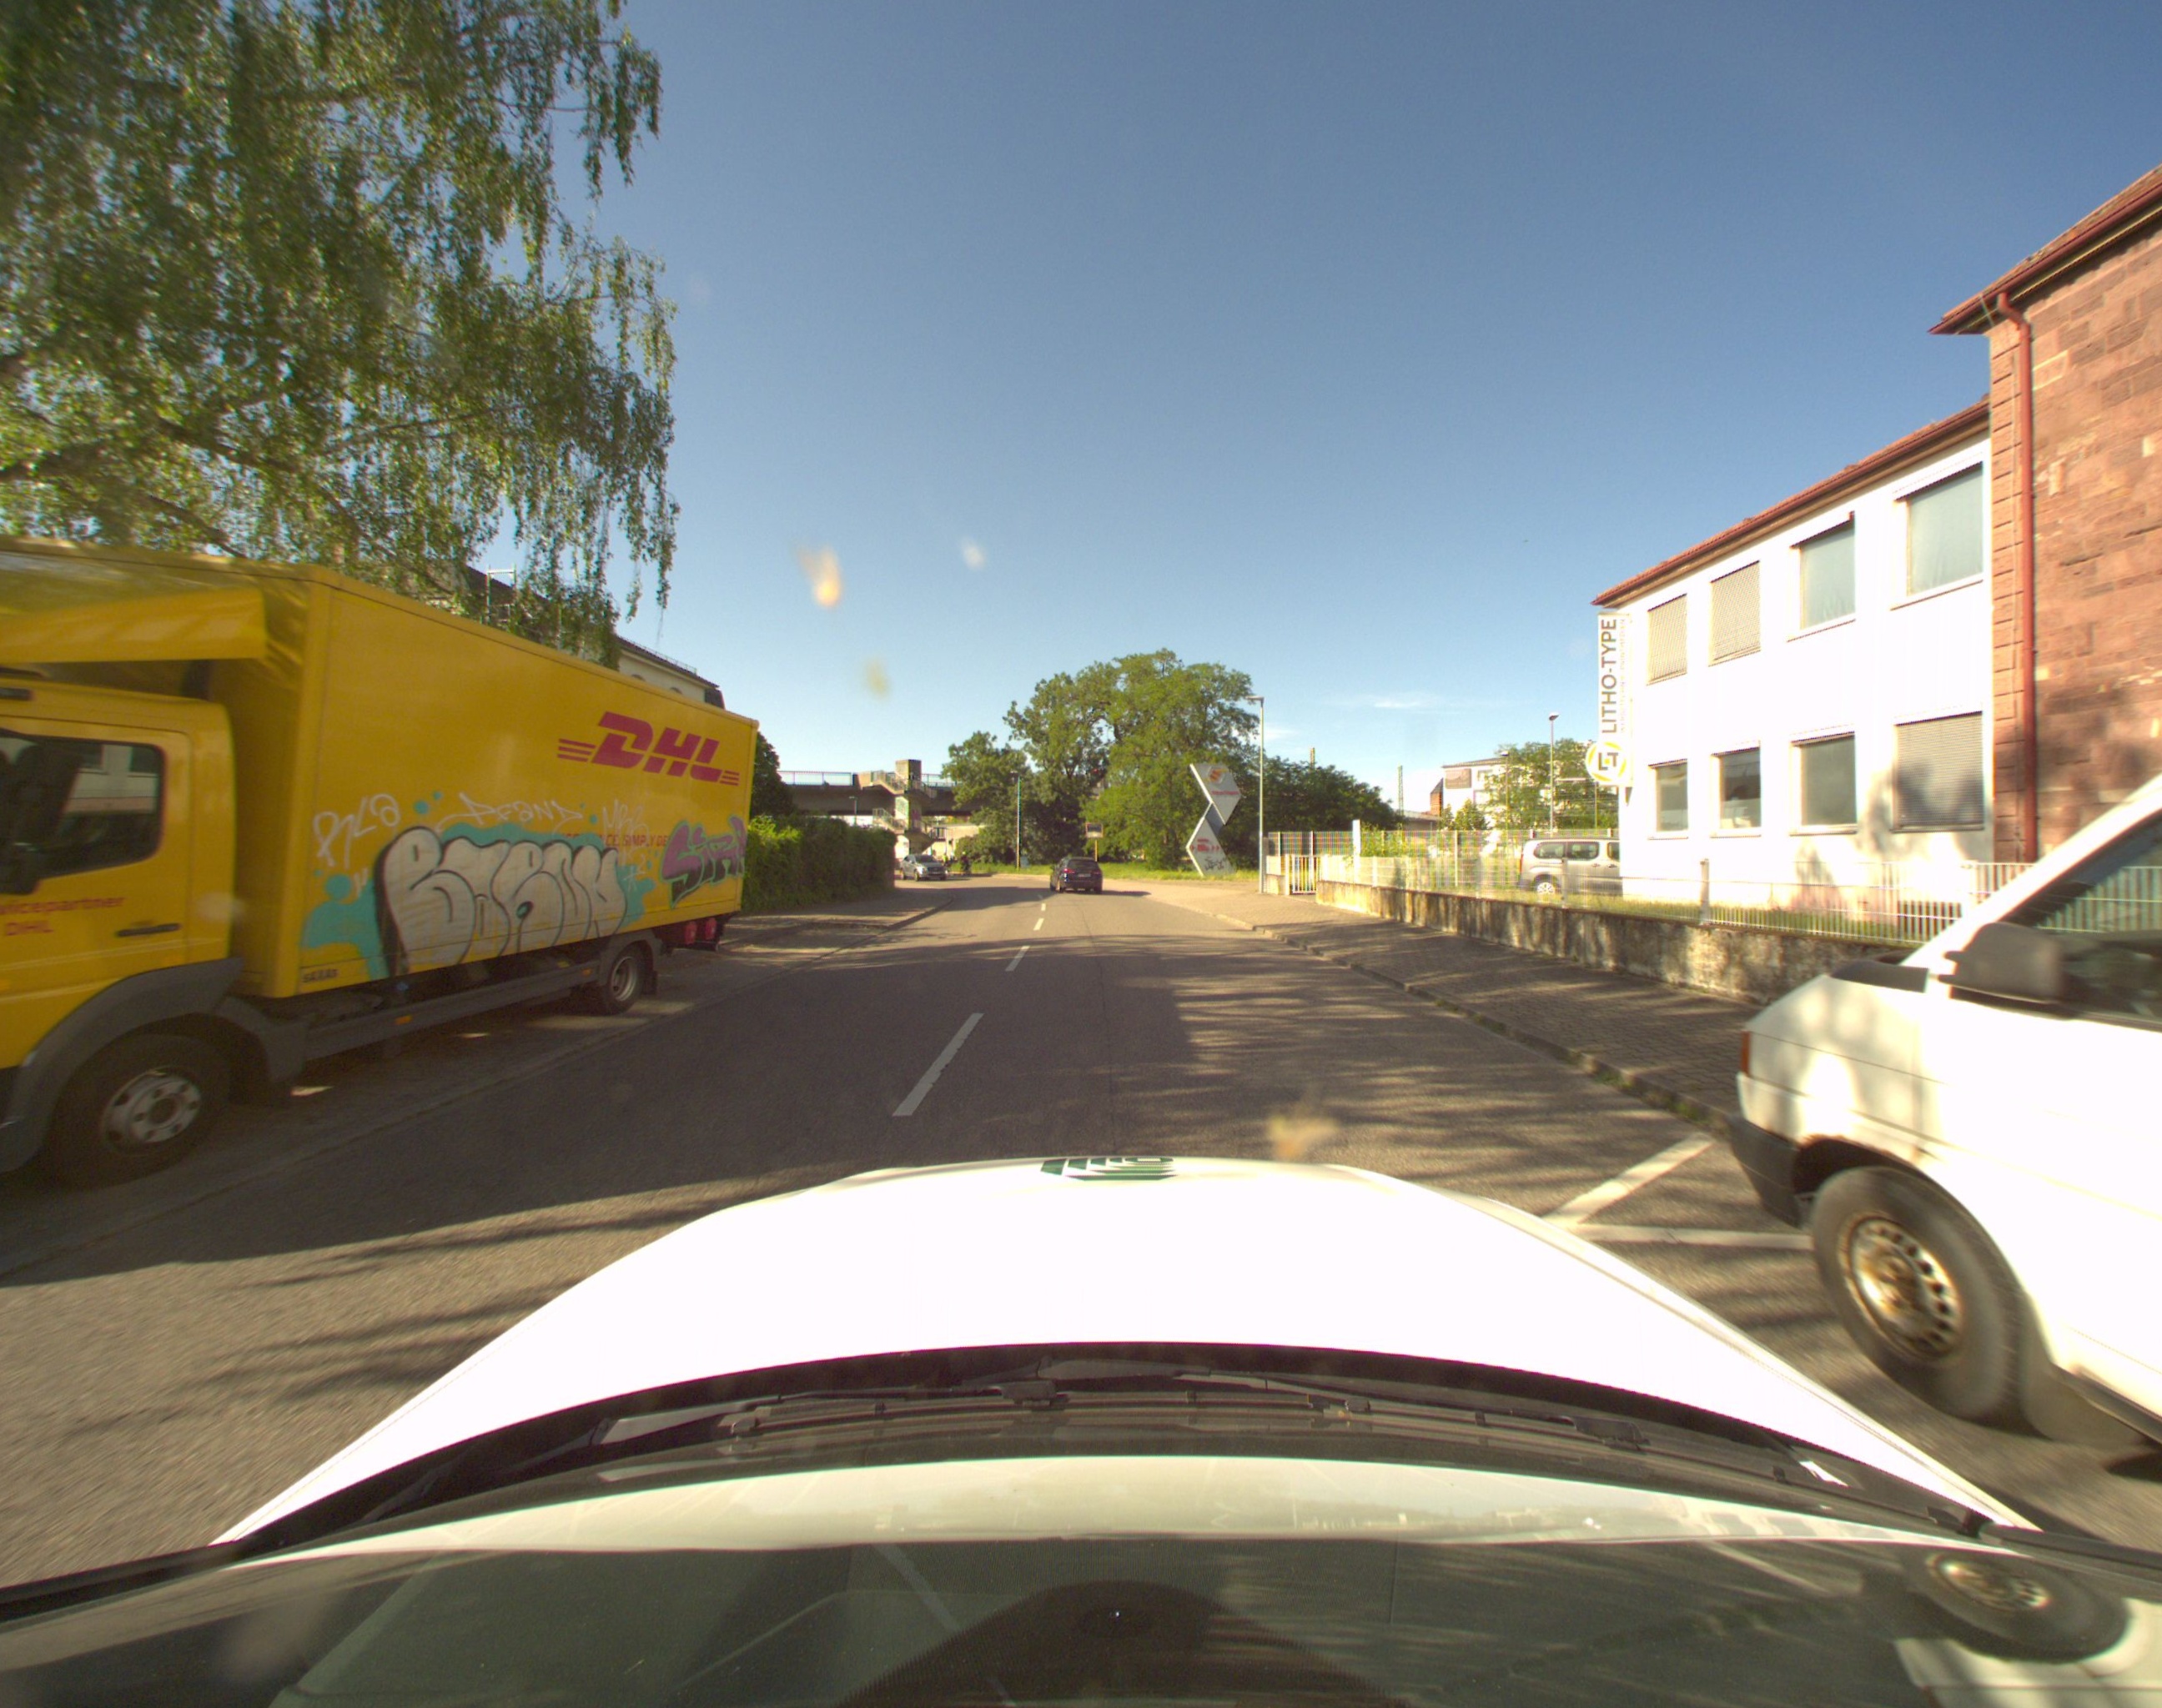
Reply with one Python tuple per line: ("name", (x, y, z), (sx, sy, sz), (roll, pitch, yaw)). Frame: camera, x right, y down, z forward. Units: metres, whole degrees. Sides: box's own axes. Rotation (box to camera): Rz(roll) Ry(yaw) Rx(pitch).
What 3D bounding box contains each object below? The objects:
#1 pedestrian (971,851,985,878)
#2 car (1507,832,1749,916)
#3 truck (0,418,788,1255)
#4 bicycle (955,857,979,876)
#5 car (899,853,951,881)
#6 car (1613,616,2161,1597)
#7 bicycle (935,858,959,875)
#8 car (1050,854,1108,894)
("pedestrian", (-7.136, 0.712, 56.273), (0.661, 1.835, 0.785), (2, -1, -35))
("car", (14.600, 0.485, 22.007), (1.890, 2.013, 5.098), (-1, 0, -42))
("truck", (-5.695, -0.196, 7.065), (2.622, 3.504, 8.661), (6, 1, 2))
("bicycle", (-8.089, 0.891, 57.804), (0.809, 1.268, 2.235), (2, -1, -33))
("car", (-9.892, 0.780, 51.314), (2.006, 1.686, 4.166), (-1, 0, -29))
("car", (3.135, 0.521, 0.895), (1.867, 2.014, 5.162), (1, -1, 2))
("bicycle", (-10.063, 0.897, 60.993), (0.810, 1.221, 2.233), (2, -1, -38))
("car", (-0.155, 0.769, 33.755), (1.846, 1.530, 3.988), (-1, 0, -9))
